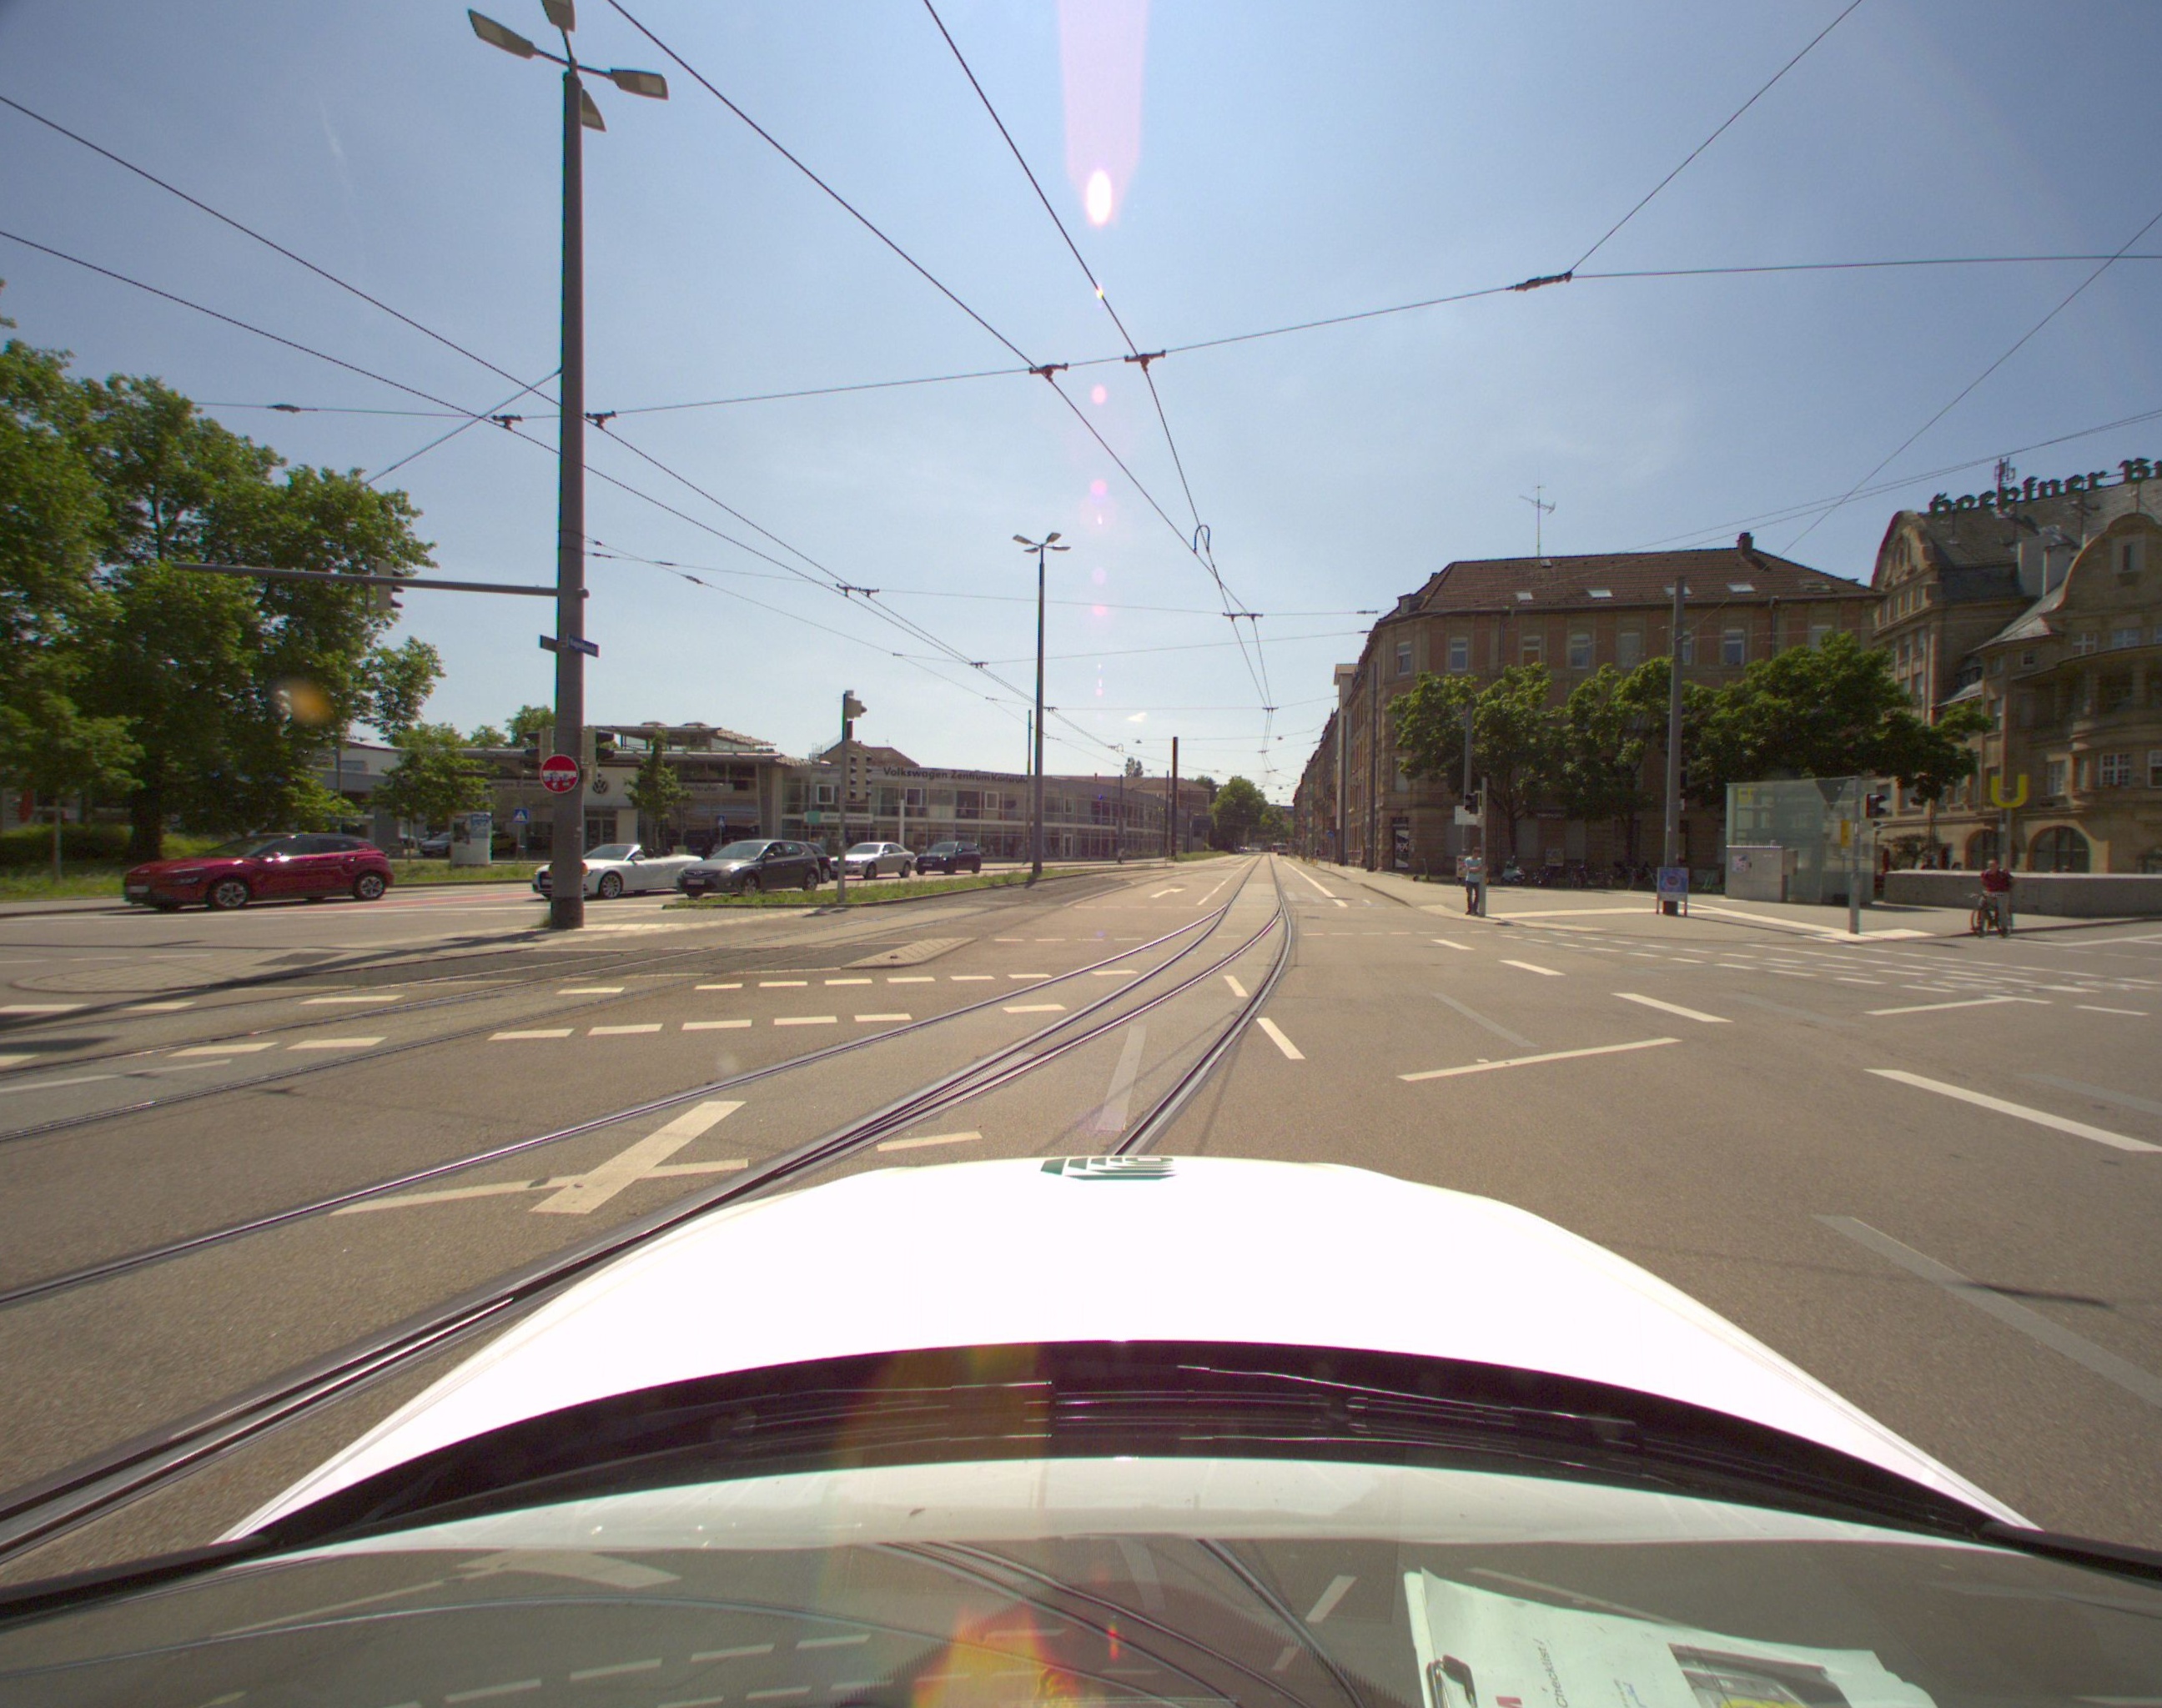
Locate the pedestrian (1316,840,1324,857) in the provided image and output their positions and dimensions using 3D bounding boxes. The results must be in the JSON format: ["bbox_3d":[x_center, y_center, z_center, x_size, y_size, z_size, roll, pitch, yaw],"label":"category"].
[{"bbox_3d":[28.970,-0.658,98.778,0.763,2.013,0.666,3,0,10],"label":"pedestrian"}]

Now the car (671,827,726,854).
[{"bbox_3d":[-26.371,-0.874,56.285,1.915,1.707,3.998,3,0,-1],"label":"car"}]

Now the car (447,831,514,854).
[{"bbox_3d":[-41.649,-0.820,56.627,1.765,1.510,4.317,1,1,-6],"label":"car"}]

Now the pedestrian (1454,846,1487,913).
[{"bbox_3d":[10.098,0.655,21.101,0.461,1.708,0.638,1,1,-9],"label":"pedestrian"}]

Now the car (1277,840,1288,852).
[{"bbox_3d":[40.835,-1.590,165.328,1.980,2.181,4.384,3,0,13],"label":"car"}]

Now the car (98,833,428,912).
[{"bbox_3d":[-17.725,0.317,18.088,1.980,1.465,4.862,1,1,12],"label":"car"}]

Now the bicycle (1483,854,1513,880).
[{"bbox_3d":[19.033,0.581,37.194,0.548,1.119,1.823,1,1,5],"label":"bicycle"}]

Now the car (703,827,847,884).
[{"bbox_3d":[-10.065,0.001,27.274,1.979,1.700,4.866,1,1,15],"label":"car"}]

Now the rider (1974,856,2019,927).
[{"bbox_3d":[21.407,0.856,19.040,0.879,1.601,0.559,1,1,-34],"label":"rider"}]

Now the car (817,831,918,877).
[{"bbox_3d":[-8.660,-0.038,33.480,1.979,1.739,4.562,1,1,15],"label":"car"}]

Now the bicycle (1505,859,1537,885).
[{"bbox_3d":[20.139,0.793,37.330,0.440,1.145,2.096,3,0,5],"label":"bicycle"}]

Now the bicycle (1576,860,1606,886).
[{"bbox_3d":[22.898,0.837,36.587,0.547,1.119,1.896,1,1,14],"label":"bicycle"}]

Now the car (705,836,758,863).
[{"bbox_3d":[-24.212,-0.299,56.513,1.915,1.707,3.998,3,0,-1],"label":"car"}]

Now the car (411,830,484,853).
[{"bbox_3d":[-44.296,-0.878,57.096,1.762,1.510,4.325,1,1,-1],"label":"car"}]

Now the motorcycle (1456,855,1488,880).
[{"bbox_3d":[17.886,0.601,37.305,0.578,1.074,1.947,1,1,2],"label":"motorcycle"}]

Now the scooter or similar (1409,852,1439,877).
[{"bbox_3d":[16.816,0.512,39.893,1.802,1.181,0.592,0,1,-42],"label":"scooter or similar"}]

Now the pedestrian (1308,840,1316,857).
[{"bbox_3d":[28.030,-0.708,98.921,0.763,2.013,0.666,3,0,10],"label":"pedestrian"}]

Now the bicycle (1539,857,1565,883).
[{"bbox_3d":[21.349,0.721,36.941,0.547,1.119,1.827,1,1,14],"label":"bicycle"}]

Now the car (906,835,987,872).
[{"bbox_3d":[-6.539,-0.058,40.230,2.063,1.682,4.866,1,1,15],"label":"car"}]

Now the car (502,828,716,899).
[{"bbox_3d":[-11.932,0.183,21.080,2.063,1.580,4.862,1,1,11],"label":"car"}]

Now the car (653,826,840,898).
[{"bbox_3d":[-8.586,0.152,21.510,1.979,1.637,4.866,1,1,15],"label":"car"}]

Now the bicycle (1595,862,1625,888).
[{"bbox_3d":[24.081,0.940,37.110,0.547,1.119,1.878,1,1,14],"label":"bicycle"}]

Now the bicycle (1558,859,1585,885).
[{"bbox_3d":[22.128,0.797,36.758,0.547,1.119,1.827,1,1,14],"label":"bicycle"}]

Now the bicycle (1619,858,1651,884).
[{"bbox_3d":[25.253,0.778,37.148,0.547,1.119,1.937,1,1,14],"label":"bicycle"}]

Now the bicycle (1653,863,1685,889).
[{"bbox_3d":[26.792,0.999,37.119,0.547,1.119,1.827,1,1,14],"label":"bicycle"}]
